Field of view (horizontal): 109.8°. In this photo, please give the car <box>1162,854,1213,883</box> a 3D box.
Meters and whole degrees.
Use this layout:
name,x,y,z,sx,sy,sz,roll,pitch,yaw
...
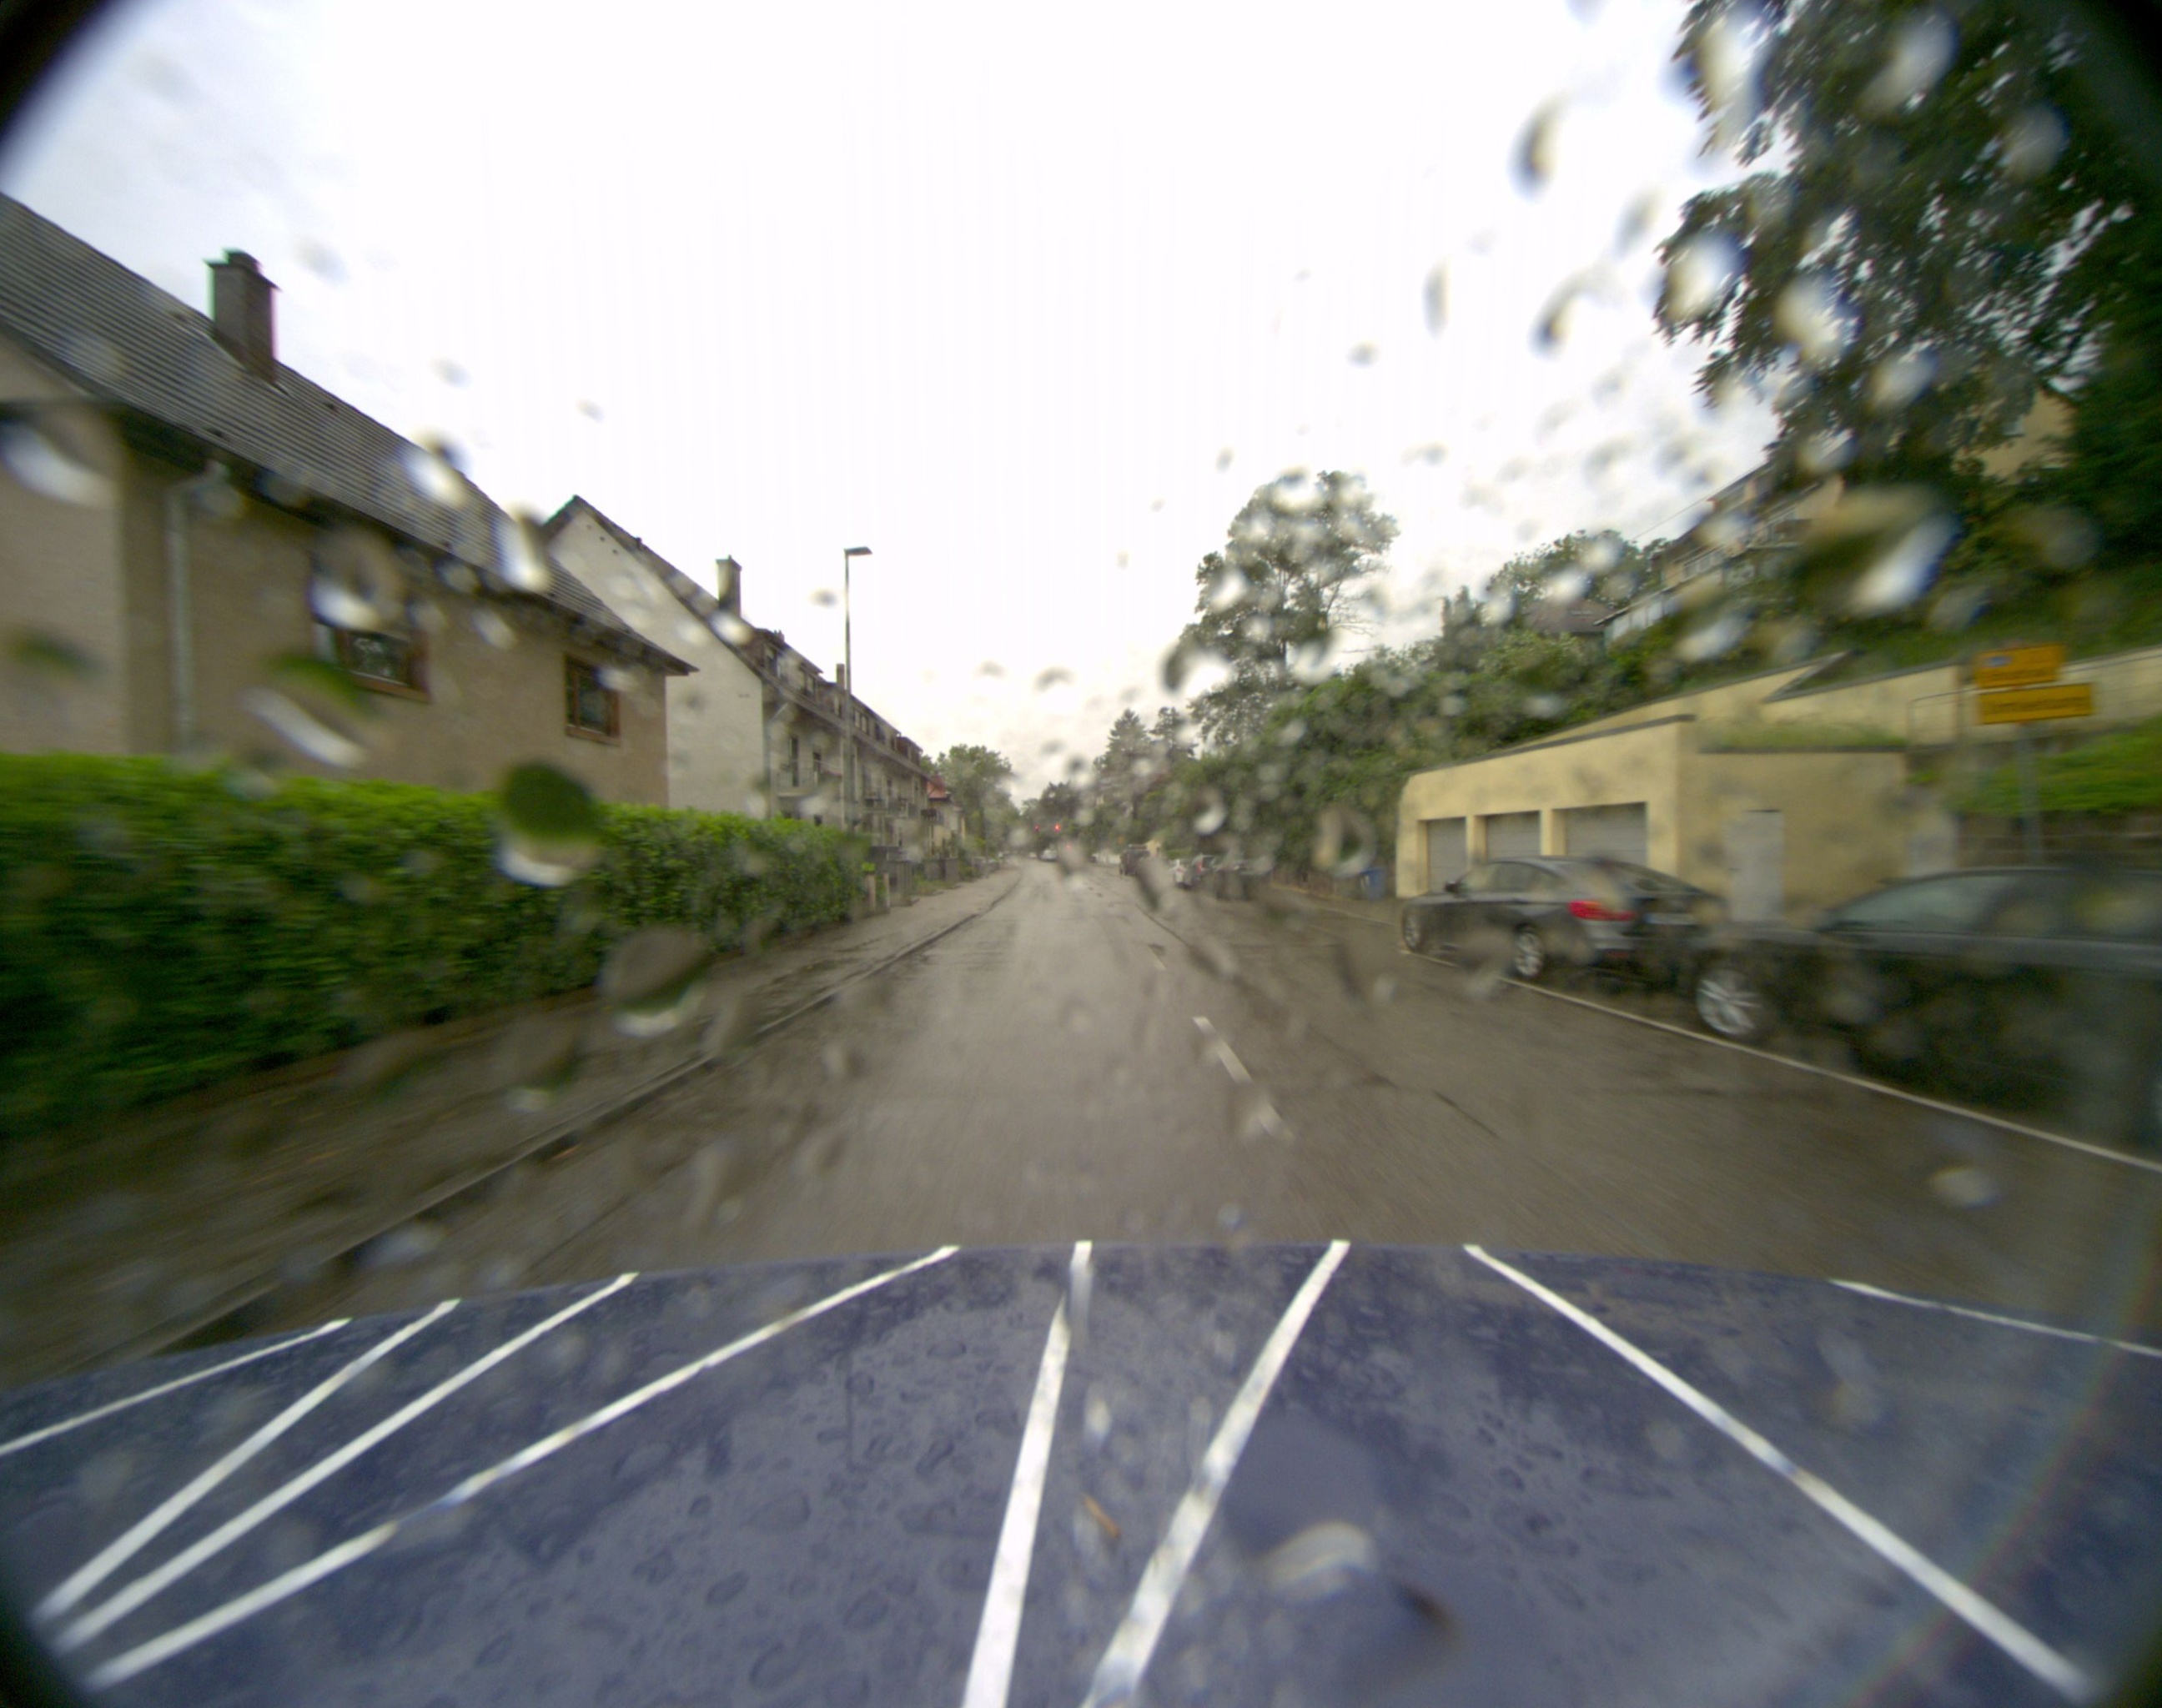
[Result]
name,x,y,z,sx,sy,sz,roll,pitch,yaw
car,5.289,0.713,38.184,1.721,1.357,4.081,1,0,-5

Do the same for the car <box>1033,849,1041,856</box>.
name,x,y,z,sx,sy,sz,roll,pitch,yaw
car,-12.267,-0.451,210.159,1.926,1.747,3.997,-3,1,-6

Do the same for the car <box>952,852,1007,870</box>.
name,x,y,z,sx,sy,sz,roll,pitch,yaw
car,-8.779,0.634,65.792,4.371,1.357,1.922,-1,2,30

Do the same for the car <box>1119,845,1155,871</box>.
name,x,y,z,sx,sy,sz,roll,pitch,yaw
car,4.353,0.239,59.659,2.164,1.908,5.321,0,1,-3

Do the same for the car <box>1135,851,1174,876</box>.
name,x,y,z,sx,sy,sz,roll,pitch,yaw
car,4.678,0.563,49.194,1.913,1.472,4.753,1,1,-2

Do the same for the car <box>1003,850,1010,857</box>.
name,x,y,z,sx,sy,sz,roll,pitch,yaw
car,-21.184,-0.088,215.301,1.926,1.889,3.997,-3,1,-6

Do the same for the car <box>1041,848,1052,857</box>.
name,x,y,z,sx,sy,sz,roll,pitch,yaw
car,-8.010,-0.339,176.658,2.163,1.944,4.912,1,1,-8

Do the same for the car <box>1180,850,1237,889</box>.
name,x,y,z,sx,sy,sz,roll,pitch,yaw
car,5.561,0.627,33.599,1.746,1.552,4.108,1,1,-1

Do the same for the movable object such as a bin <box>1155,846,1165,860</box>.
name,x,y,z,sx,sy,sz,roll,pitch,yaw
movable object such as a bin,8.078,-0.123,77.373,0.822,1.374,1.134,-2,1,-1

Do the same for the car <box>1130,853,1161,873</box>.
name,x,y,z,sx,sy,sz,roll,pitch,yaw
car,4.620,0.634,54.753,1.569,1.357,3.905,0,1,-4

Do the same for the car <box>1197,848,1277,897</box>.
name,x,y,z,sx,sy,sz,roll,pitch,yaw
car,5.683,0.622,28.256,1.879,1.616,4.592,2,0,-1

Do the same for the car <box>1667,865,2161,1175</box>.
name,x,y,z,sx,sy,sz,roll,pitch,yaw
car,5.980,0.807,4.465,1.790,1.407,4.217,0,0,0

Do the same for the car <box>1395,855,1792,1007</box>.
name,x,y,z,sx,sy,sz,roll,pitch,yaw
car,6.011,0.765,9.828,1.790,1.446,4.754,1,0,-2

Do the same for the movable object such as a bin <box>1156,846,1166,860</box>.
name,x,y,z,sx,sy,sz,roll,pitch,yaw
movable object such as a bin,7.841,-0.097,74.493,0.822,1.307,1.401,-2,1,-1

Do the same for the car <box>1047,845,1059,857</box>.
name,x,y,z,sx,sy,sz,roll,pitch,yaw
car,-5.875,-0.593,159.356,2.086,2.464,4.849,1,1,-8
